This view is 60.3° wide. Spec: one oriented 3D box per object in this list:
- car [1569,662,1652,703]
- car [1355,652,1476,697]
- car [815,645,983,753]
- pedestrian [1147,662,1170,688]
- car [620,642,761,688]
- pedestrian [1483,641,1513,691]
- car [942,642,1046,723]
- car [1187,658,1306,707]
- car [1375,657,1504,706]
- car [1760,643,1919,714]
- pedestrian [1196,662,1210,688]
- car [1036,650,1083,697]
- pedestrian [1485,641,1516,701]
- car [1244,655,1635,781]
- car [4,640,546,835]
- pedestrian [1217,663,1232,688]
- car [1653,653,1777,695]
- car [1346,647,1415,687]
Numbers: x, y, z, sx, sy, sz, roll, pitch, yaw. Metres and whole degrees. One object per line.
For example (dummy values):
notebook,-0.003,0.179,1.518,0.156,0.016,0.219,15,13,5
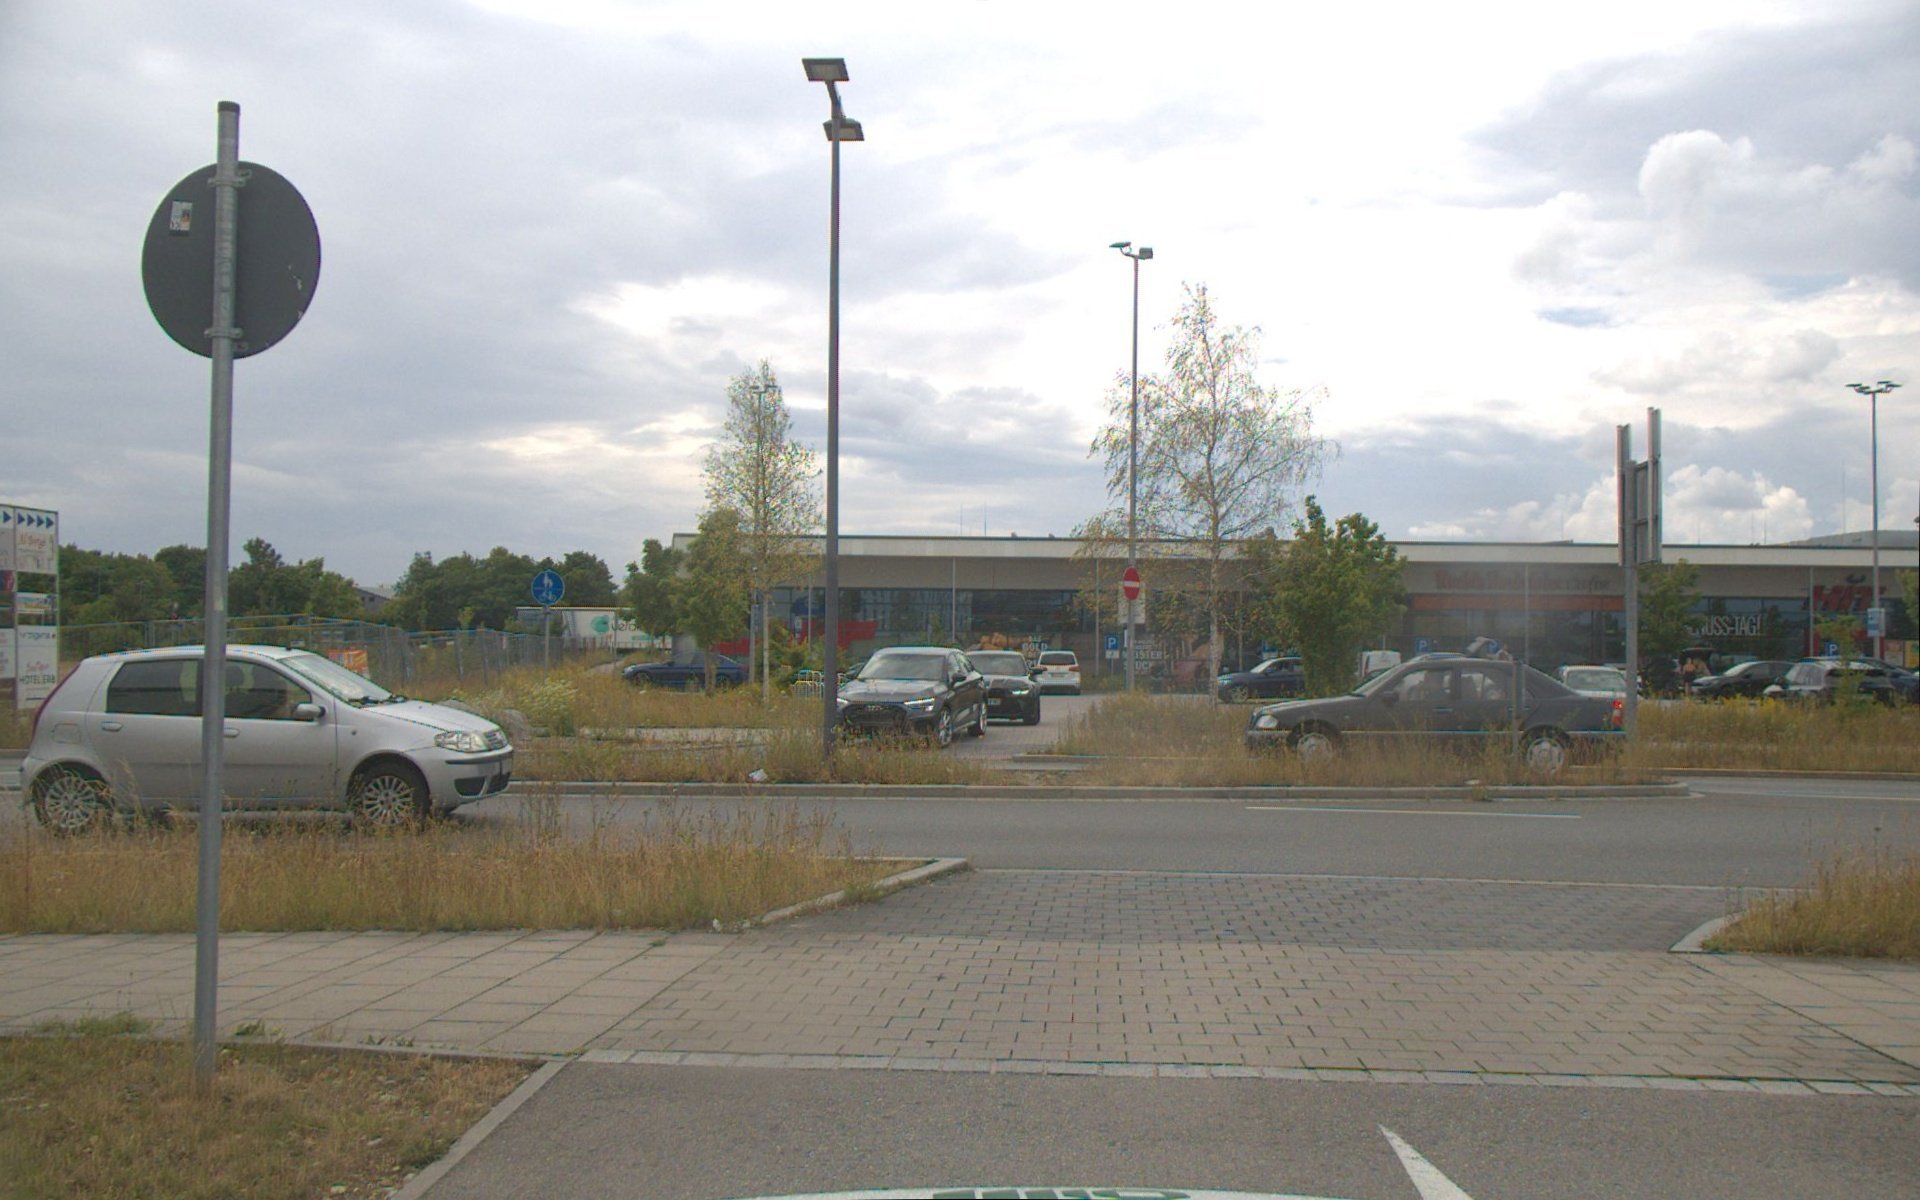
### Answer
car,25.854,3.253,65.872,1.952,1.534,4.001,0,-2,4
car,15.417,2.525,56.085,3.669,1.480,1.668,0,-2,1
car,-0.836,1.451,25.511,1.753,1.492,4.324,0,-2,9
pedestrian,9.043,3.429,75.398,0.951,1.175,1.133,0,-2,0
car,-9.928,2.401,61.172,4.908,1.585,1.999,1,-2,-3
pedestrian,18.165,2.225,55.881,0.804,1.660,0.899,0,-3,7
car,0.745,1.610,32.652,1.742,1.471,4.612,0,-2,5
car,9.139,2.624,52.854,3.532,1.480,1.667,0,-2,0
car,15.292,2.595,52.867,3.669,1.480,1.668,0,-2,1
car,19.662,1.744,37.136,1.946,1.477,4.152,0,-2,9
pedestrian,10.986,3.395,74.767,0.564,1.144,0.561,0,-2,-2
car,3.990,2.901,66.042,1.786,1.730,4.235,0,-1,4
pedestrian,18.803,2.467,57.568,0.846,2.049,1.004,0,-2,6
car,5.651,1.394,19.960,4.264,1.420,1.792,0,-3,6
car,-5.489,1.085,13.688,3.729,1.487,1.799,0,-2,-5
pedestrian,11.783,3.367,73.808,0.564,1.144,0.561,0,-2,-2
car,29.101,2.848,63.862,3.903,1.534,2.000,0,-2,3
car,16.835,2.663,66.387,1.952,1.534,4.001,1,-2,4
